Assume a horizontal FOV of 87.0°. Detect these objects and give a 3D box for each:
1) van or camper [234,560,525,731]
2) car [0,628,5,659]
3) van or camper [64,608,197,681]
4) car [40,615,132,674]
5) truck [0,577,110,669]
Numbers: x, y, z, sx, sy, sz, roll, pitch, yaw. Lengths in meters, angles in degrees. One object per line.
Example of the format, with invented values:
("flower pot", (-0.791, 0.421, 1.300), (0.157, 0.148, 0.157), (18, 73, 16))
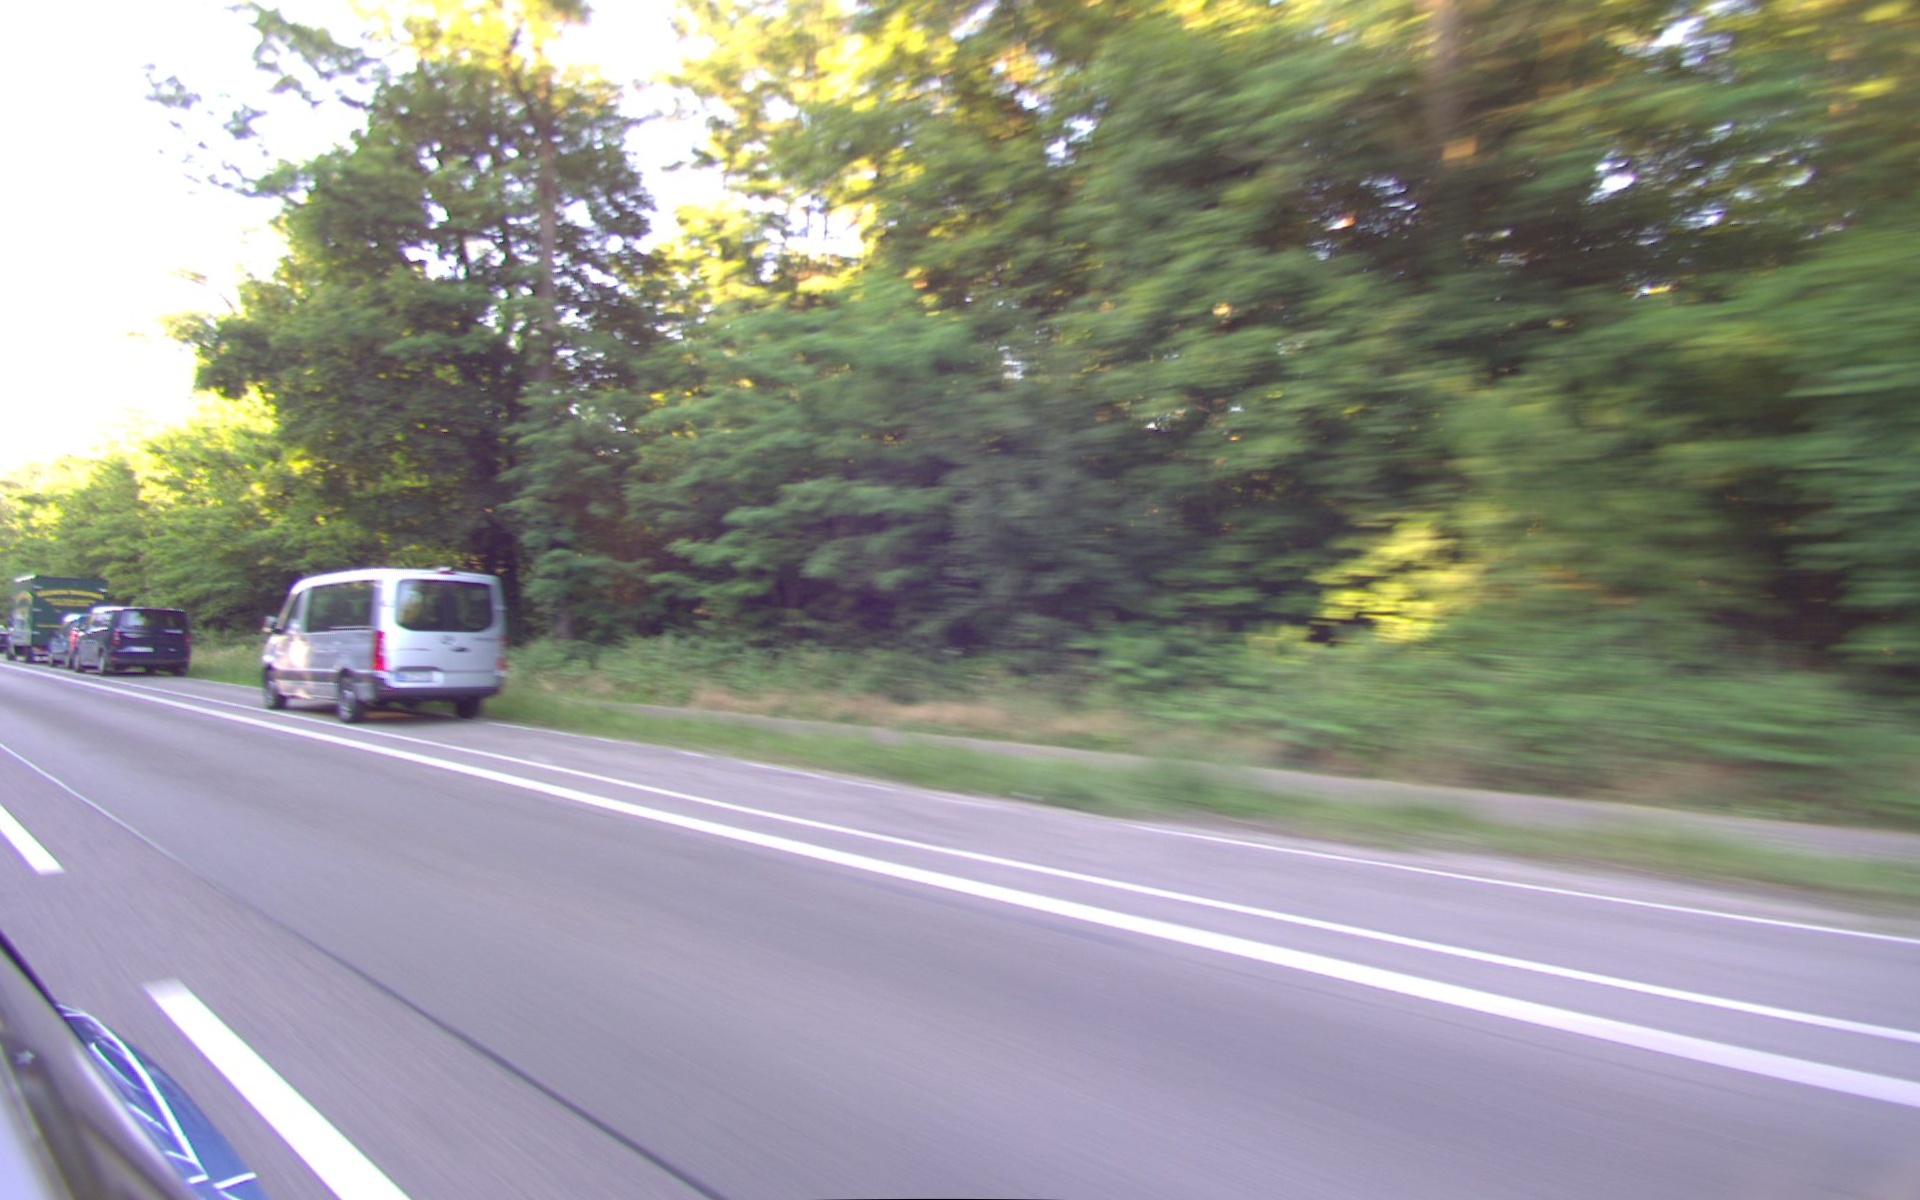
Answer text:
("van or camper", (-9.982, 0.752, 17.105), (6.376, 2.409, 2.089), (-1, -4, 40))
("car", (-49.991, 2.181, 51.635), (3.760, 1.515, 1.585), (-2, -5, 44))
("van or camper", (-24.646, 1.325, 30.016), (4.687, 1.971, 2.009), (-1, -5, 39))
("car", (-29.366, 1.485, 33.979), (3.755, 1.841, 1.587), (-1, -5, 39))
("truck", (-34.758, 0.925, 38.697), (6.266, 3.232, 2.198), (-1, -5, 40))
